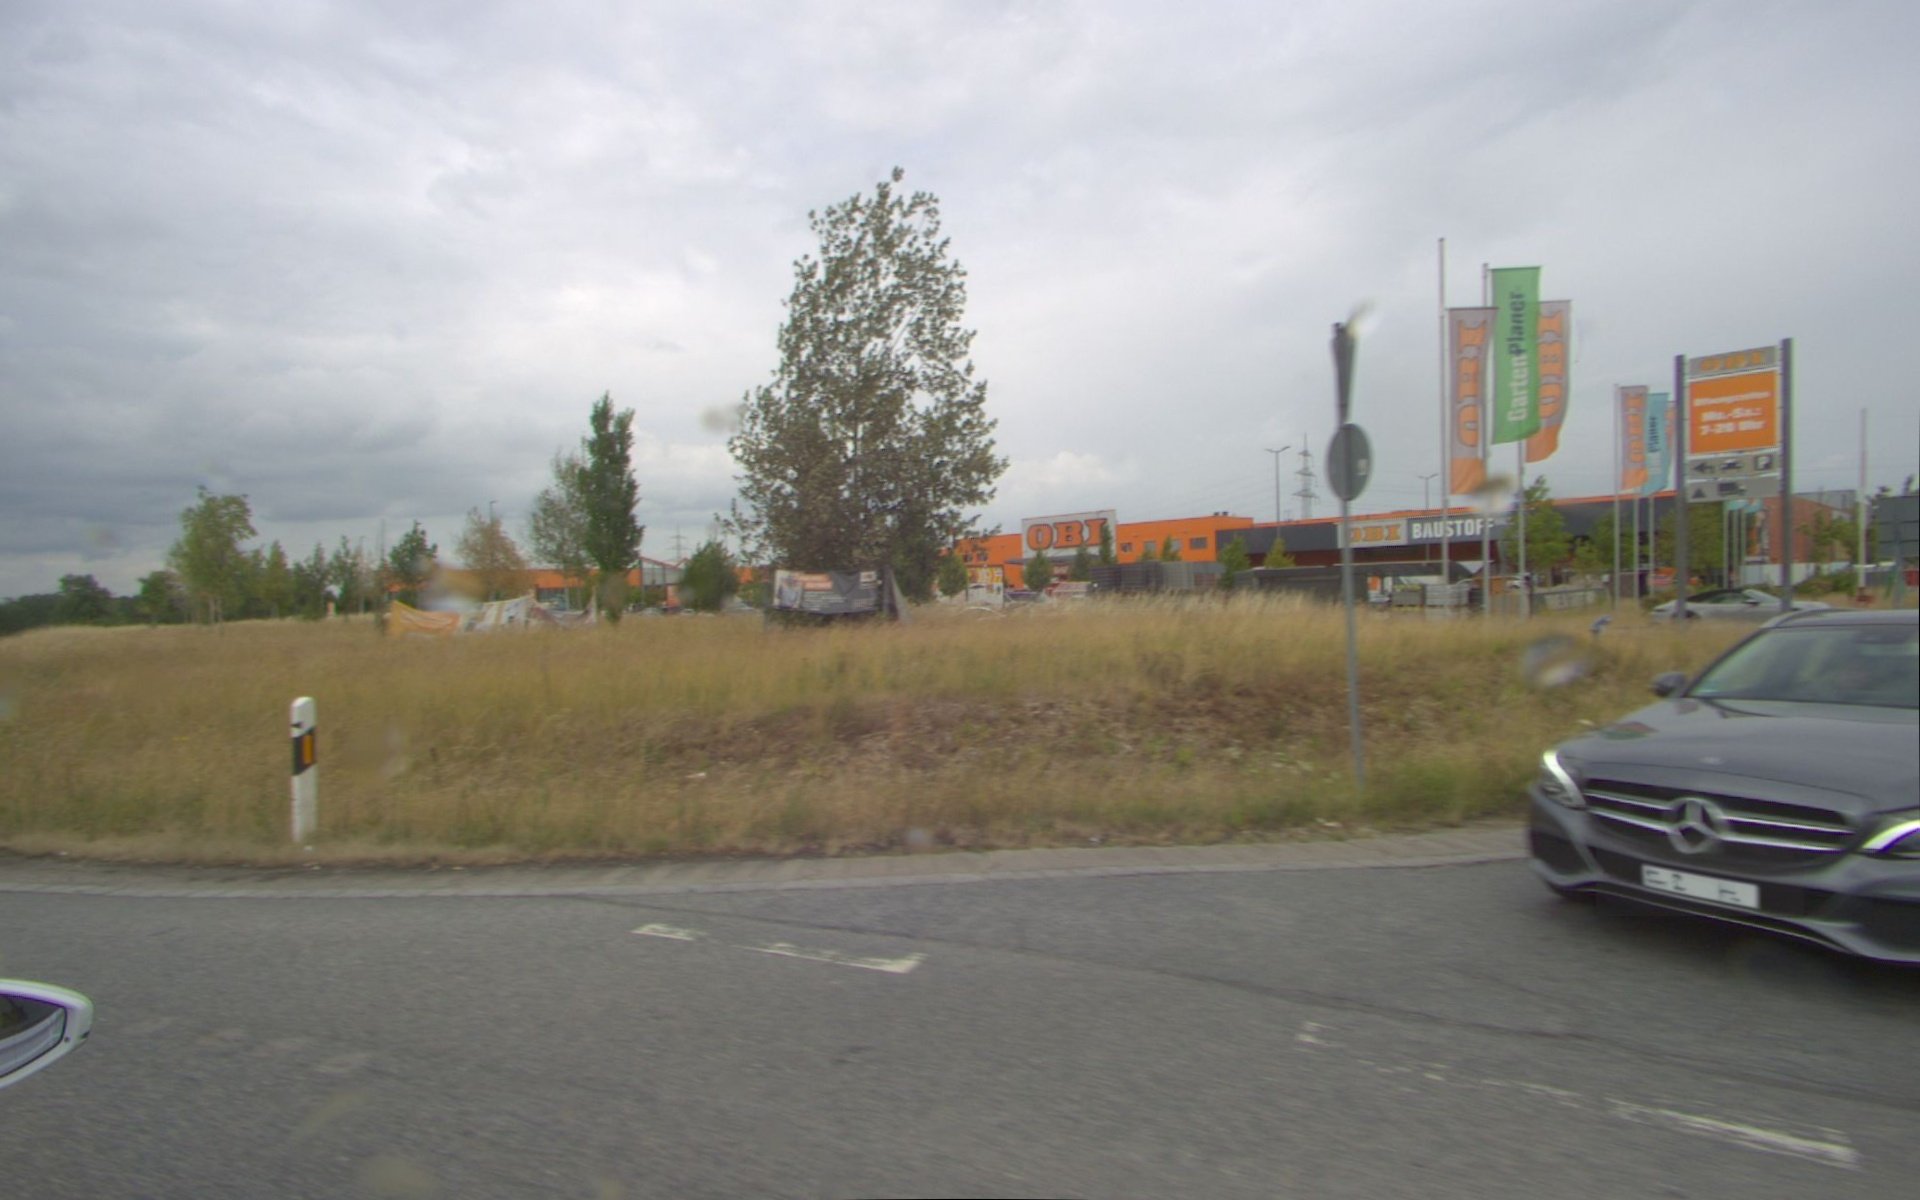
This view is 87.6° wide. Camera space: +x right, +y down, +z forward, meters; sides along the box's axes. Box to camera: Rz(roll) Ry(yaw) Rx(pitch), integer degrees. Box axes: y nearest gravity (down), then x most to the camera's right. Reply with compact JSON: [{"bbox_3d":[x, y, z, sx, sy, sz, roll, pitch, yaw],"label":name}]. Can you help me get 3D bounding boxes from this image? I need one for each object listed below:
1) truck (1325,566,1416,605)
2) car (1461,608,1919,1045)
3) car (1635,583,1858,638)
[{"bbox_3d":[29.293,-0.981,71.500,5.491,2.516,2.419,-2,-2,43],"label":"truck"},{"bbox_3d":[4.761,0.756,5.017,4.623,1.422,1.918,0,-1,-32],"label":"car"},{"bbox_3d":[22.054,0.283,28.262,1.724,1.422,4.717,0,0,-40],"label":"car"}]
